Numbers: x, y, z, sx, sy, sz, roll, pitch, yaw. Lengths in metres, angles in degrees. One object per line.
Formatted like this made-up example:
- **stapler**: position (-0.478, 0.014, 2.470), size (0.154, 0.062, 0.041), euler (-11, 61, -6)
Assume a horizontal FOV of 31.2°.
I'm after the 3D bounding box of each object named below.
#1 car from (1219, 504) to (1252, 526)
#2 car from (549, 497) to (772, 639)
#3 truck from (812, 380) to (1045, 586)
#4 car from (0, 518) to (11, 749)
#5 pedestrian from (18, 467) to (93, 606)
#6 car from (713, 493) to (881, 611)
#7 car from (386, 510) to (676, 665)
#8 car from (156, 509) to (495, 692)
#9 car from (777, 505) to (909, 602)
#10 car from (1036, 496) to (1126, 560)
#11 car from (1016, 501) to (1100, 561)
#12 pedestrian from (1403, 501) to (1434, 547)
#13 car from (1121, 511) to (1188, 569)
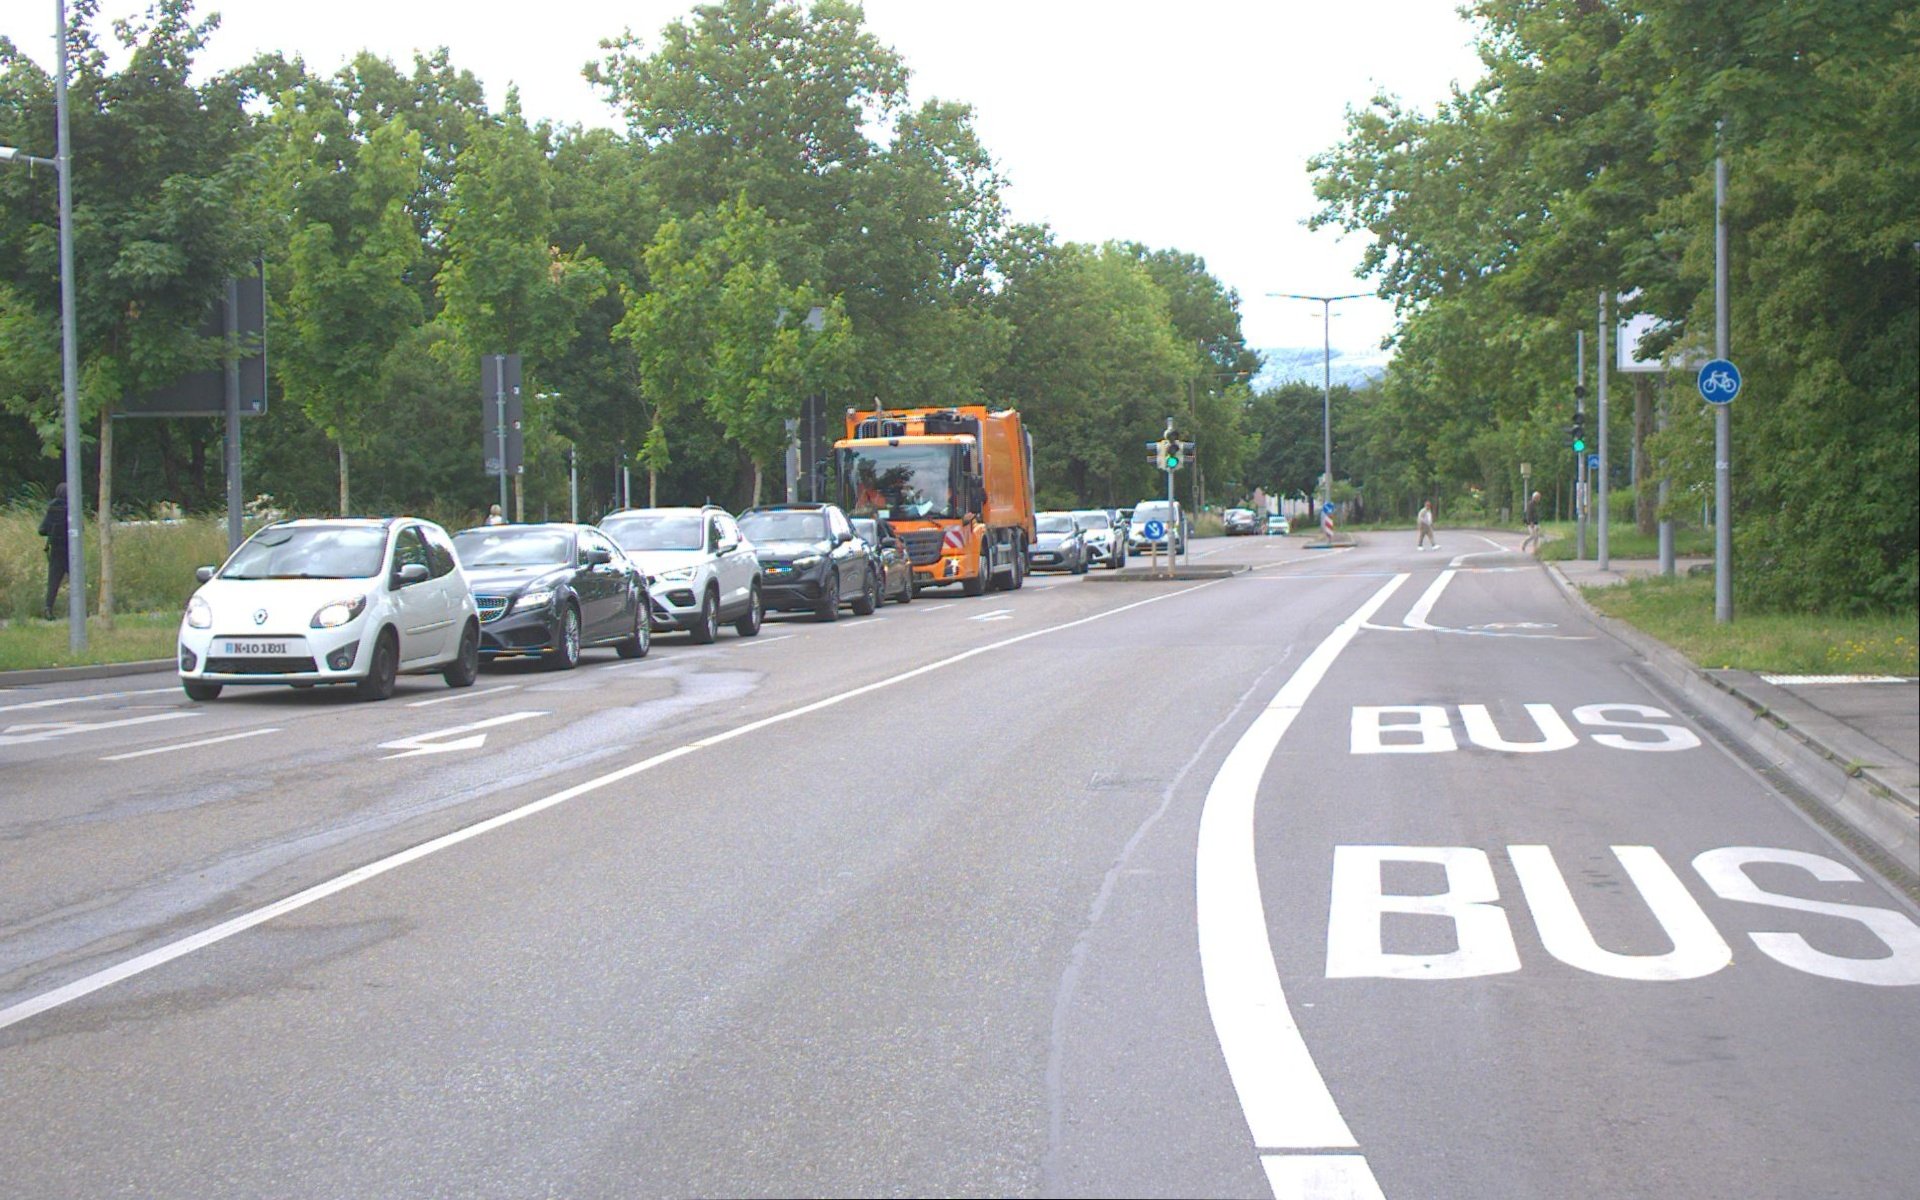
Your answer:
- **car**: position (17.094, -5.271, 213.170), size (1.772, 1.300, 3.999), euler (0, 1, 8)
- **car**: position (-3.496, -0.421, 40.904), size (1.731, 1.580, 4.222), euler (0, 2, 8)
- **truck**: position (-0.421, -2.144, 63.435), size (2.706, 3.475, 9.992), euler (0, 2, 9)
- **car**: position (-6.588, 0.257, 17.997), size (1.640, 1.327, 4.060), euler (0, 2, 8)
- **pedestrian**: position (-12.087, -0.852, 45.940), size (0.721, 1.829, 0.677), euler (-1, 1, 9)
- **car**: position (-2.254, -0.703, 48.518), size (1.640, 1.580, 4.060), euler (0, 2, 8)
- **car**: position (-4.160, -0.174, 34.095), size (1.640, 1.386, 4.884), euler (0, 2, 8)
- **car**: position (-5.146, -0.043, 28.361), size (1.640, 1.386, 3.761), euler (0, 2, 8)
- **car**: position (-1.809, -0.756, 54.277), size (1.434, 1.452, 3.894), euler (0, 2, 8)
- **car**: position (3.166, -1.878, 89.034), size (1.846, 1.515, 4.814), euler (-3, 1, 7)
- **car**: position (2.322, -1.637, 81.029), size (1.547, 1.326, 3.653), euler (-3, 1, 8)
- **pedestrian**: position (14.923, -2.467, 111.808), size (0.788, 1.458, 0.749), euler (-1, 1, -10)
- **car**: position (6.577, -2.036, 115.855), size (1.846, 1.797, 4.649), euler (-3, 1, 7)
